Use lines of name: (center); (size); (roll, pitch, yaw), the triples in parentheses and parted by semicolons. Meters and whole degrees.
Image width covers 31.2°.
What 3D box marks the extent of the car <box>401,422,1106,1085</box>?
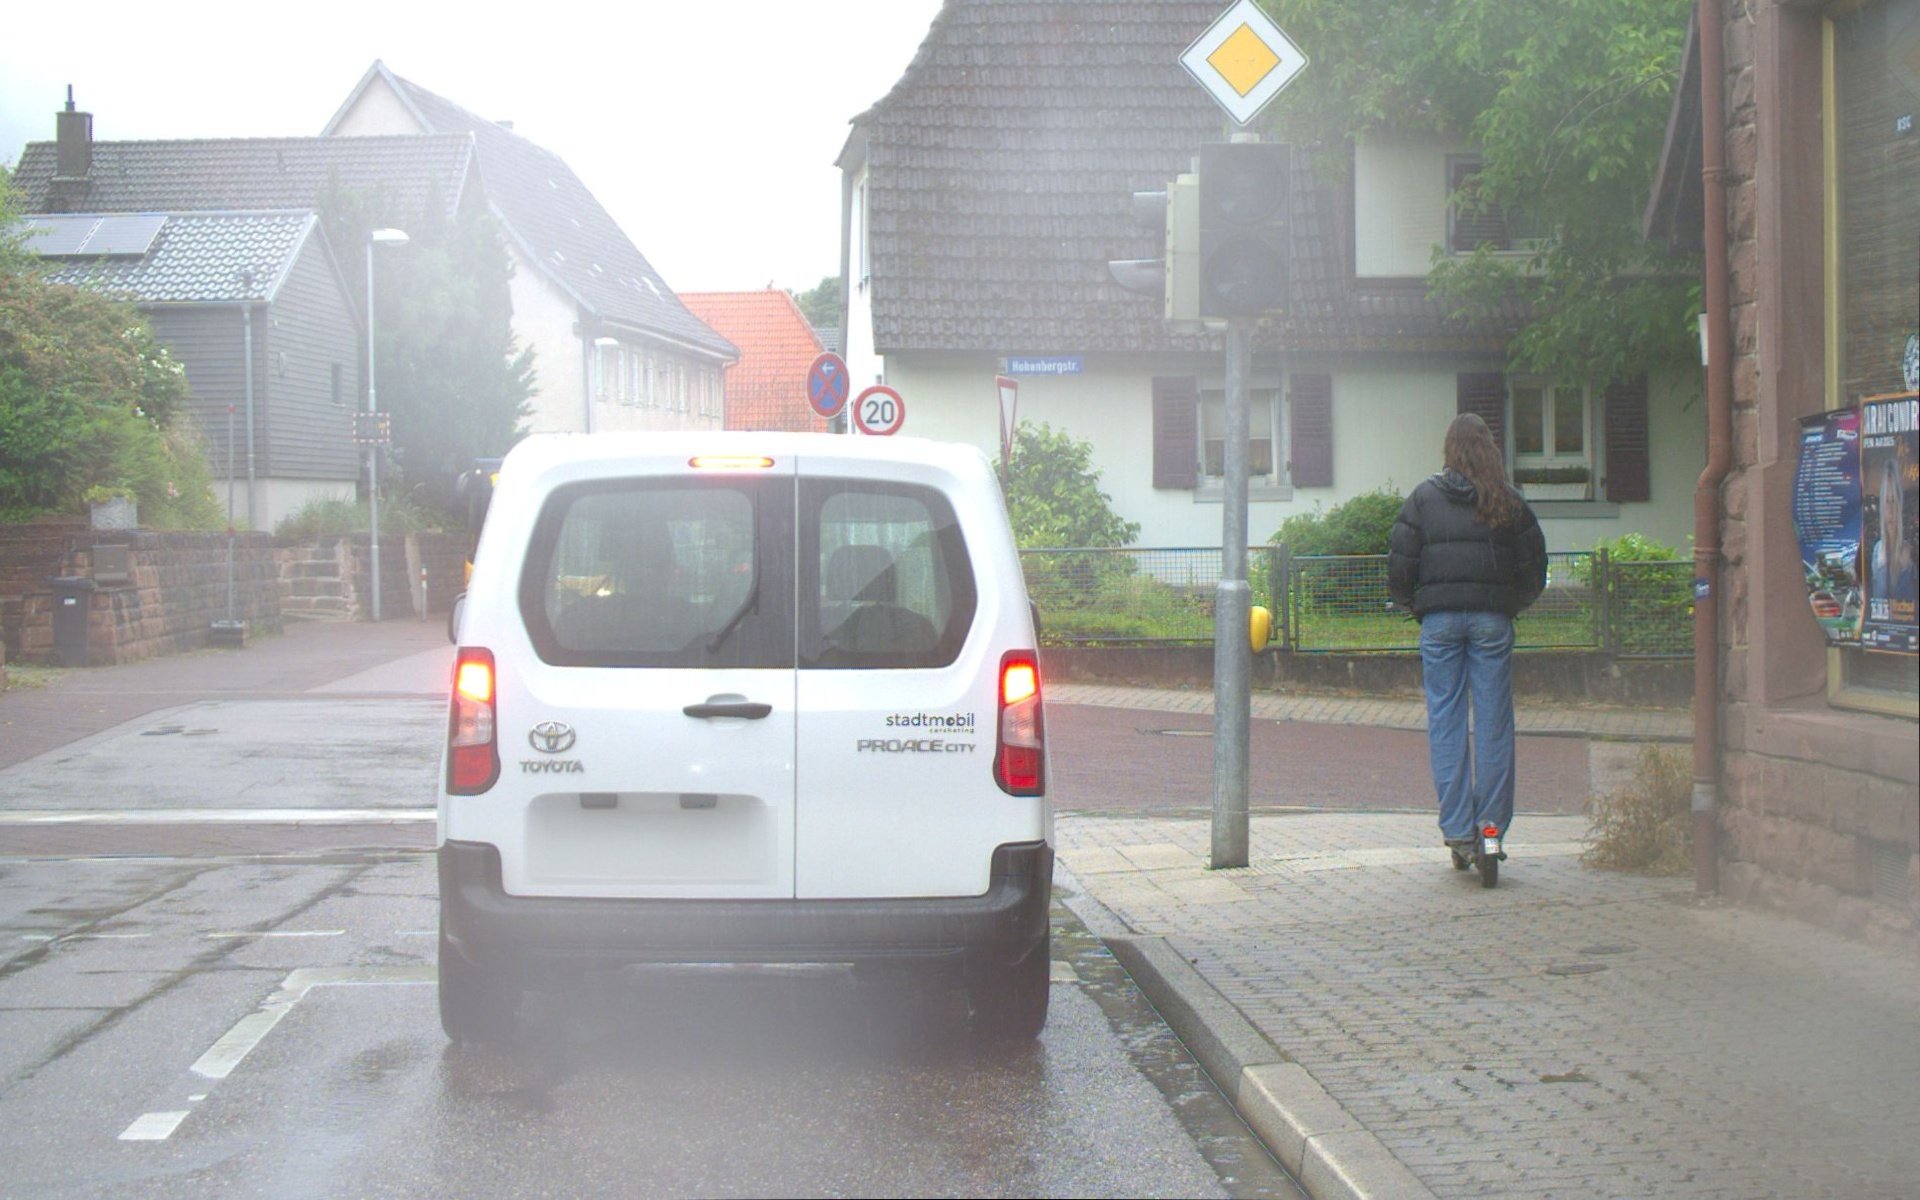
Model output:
car: (-0.679, 0.381, 11.294); (1.894, 1.787, 3.814); (1, 1, -4)

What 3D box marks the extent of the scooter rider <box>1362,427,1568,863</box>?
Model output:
scooter rider: (2.033, 0.173, 13.897); (0.731, 1.727, 0.518); (0, 1, -4)

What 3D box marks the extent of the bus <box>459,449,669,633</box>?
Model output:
bus: (-7.072, -1.235, 63.049); (2.649, 2.989, 12.194); (0, 3, -1)

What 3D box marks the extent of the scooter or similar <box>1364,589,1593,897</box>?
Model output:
scooter or similar: (2.049, 0.540, 13.750); (0.620, 1.123, 1.402); (0, 2, -4)
